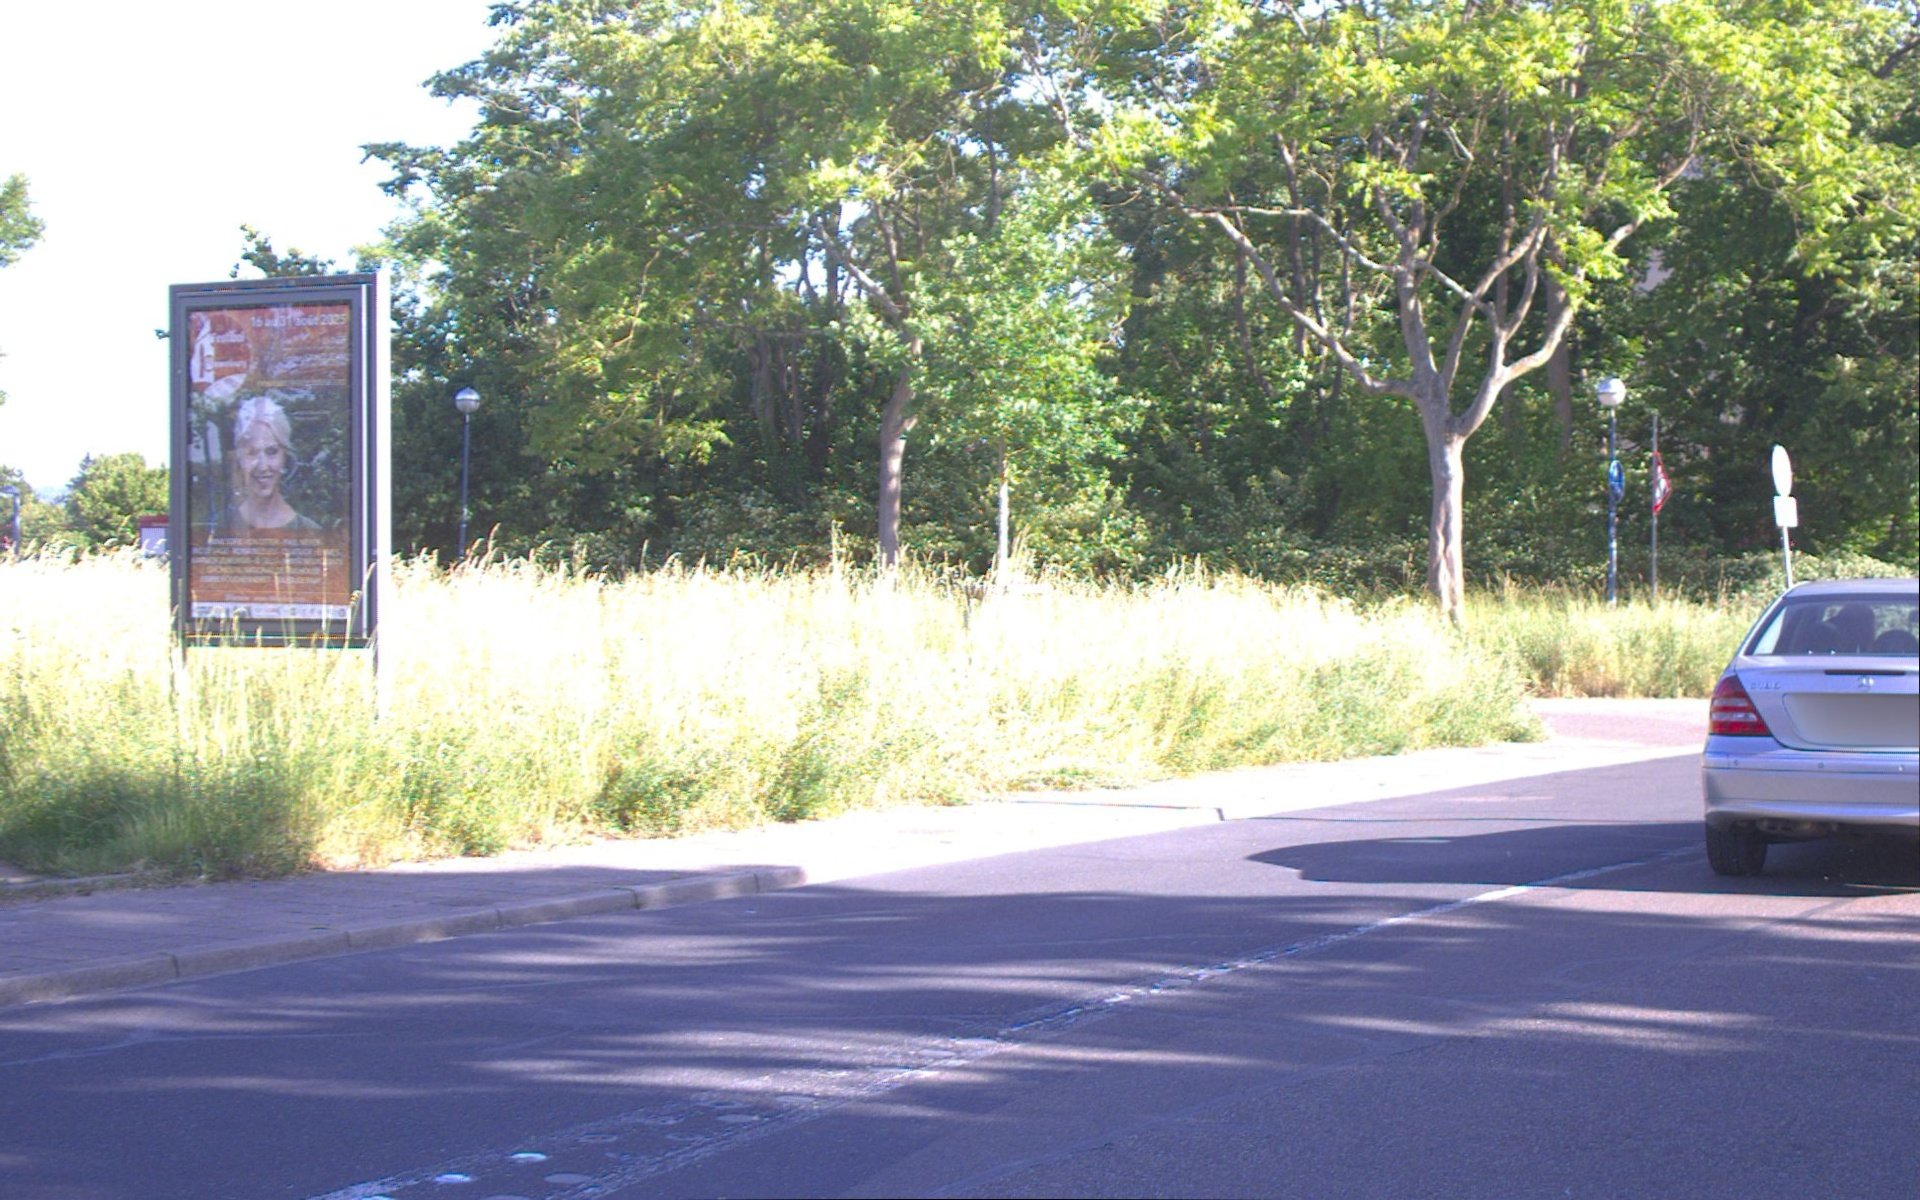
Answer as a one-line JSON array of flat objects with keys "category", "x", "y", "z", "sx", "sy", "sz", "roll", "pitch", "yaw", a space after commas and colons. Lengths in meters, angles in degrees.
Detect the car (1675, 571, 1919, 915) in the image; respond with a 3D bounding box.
[{"category": "car", "x": 4.842, "y": 0.615, "z": 17.104, "sx": 1.818, "sy": 1.458, "sz": 4.356, "roll": 1, "pitch": 1, "yaw": 21}]
